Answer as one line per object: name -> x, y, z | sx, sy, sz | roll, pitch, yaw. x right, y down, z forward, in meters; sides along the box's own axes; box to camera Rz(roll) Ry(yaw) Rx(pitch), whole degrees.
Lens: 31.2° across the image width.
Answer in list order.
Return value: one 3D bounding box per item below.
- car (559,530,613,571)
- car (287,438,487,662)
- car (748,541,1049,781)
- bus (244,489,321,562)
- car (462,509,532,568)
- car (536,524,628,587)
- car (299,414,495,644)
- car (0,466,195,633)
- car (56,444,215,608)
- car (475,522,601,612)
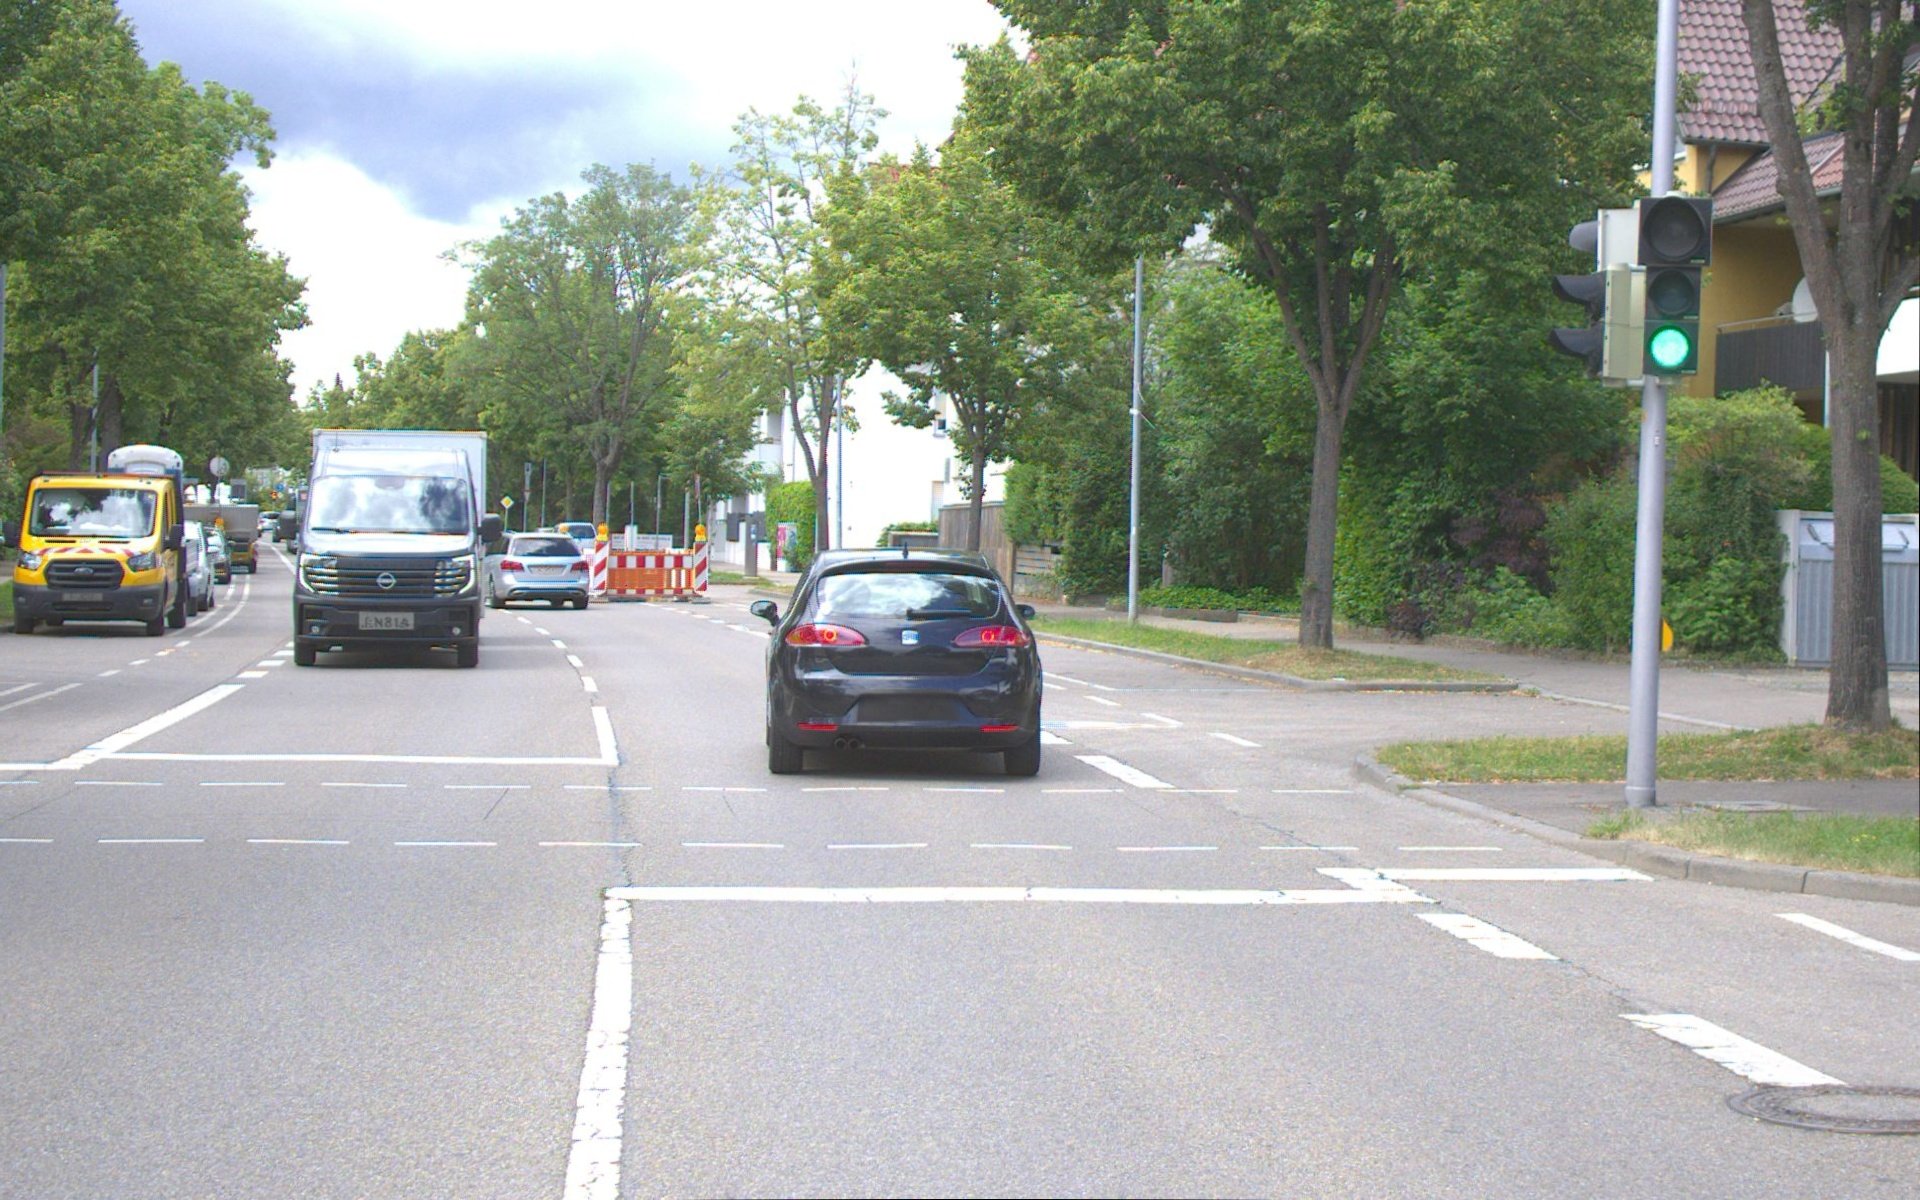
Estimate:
car -> -13.280, -1.781, 122.308 | 1.809, 1.410, 3.694 | 1, 1, -5
car -> -6.460, -0.588, 39.229 | 2.028, 2.376, 5.263 | 0, 1, -7
car -> -0.432, 0.343, 22.830 | 1.819, 1.433, 3.740 | 1, 1, -2
bus -> -20.675, -2.273, 105.125 | 1.993, 2.116, 7.361 | 1, 1, -9
car -> -13.219, -1.757, 98.018 | 1.790, 1.617, 3.741 | 0, 1, -10
car -> -8.881, -1.053, 80.612 | 1.809, 1.410, 3.694 | 1, 1, -11
car -> -7.322, -0.931, 45.343 | 2.287, 2.782, 7.145 | 0, 1, -7
car -> -11.996, -0.722, 48.086 | 2.092, 2.167, 5.046 | 1, 1, -8
car -> -13.968, -1.260, 58.499 | 2.092, 2.617, 5.046 | 1, 1, -8
car -> -8.191, -0.666, 66.509 | 1.905, 1.680, 3.741 | 0, 1, -15
